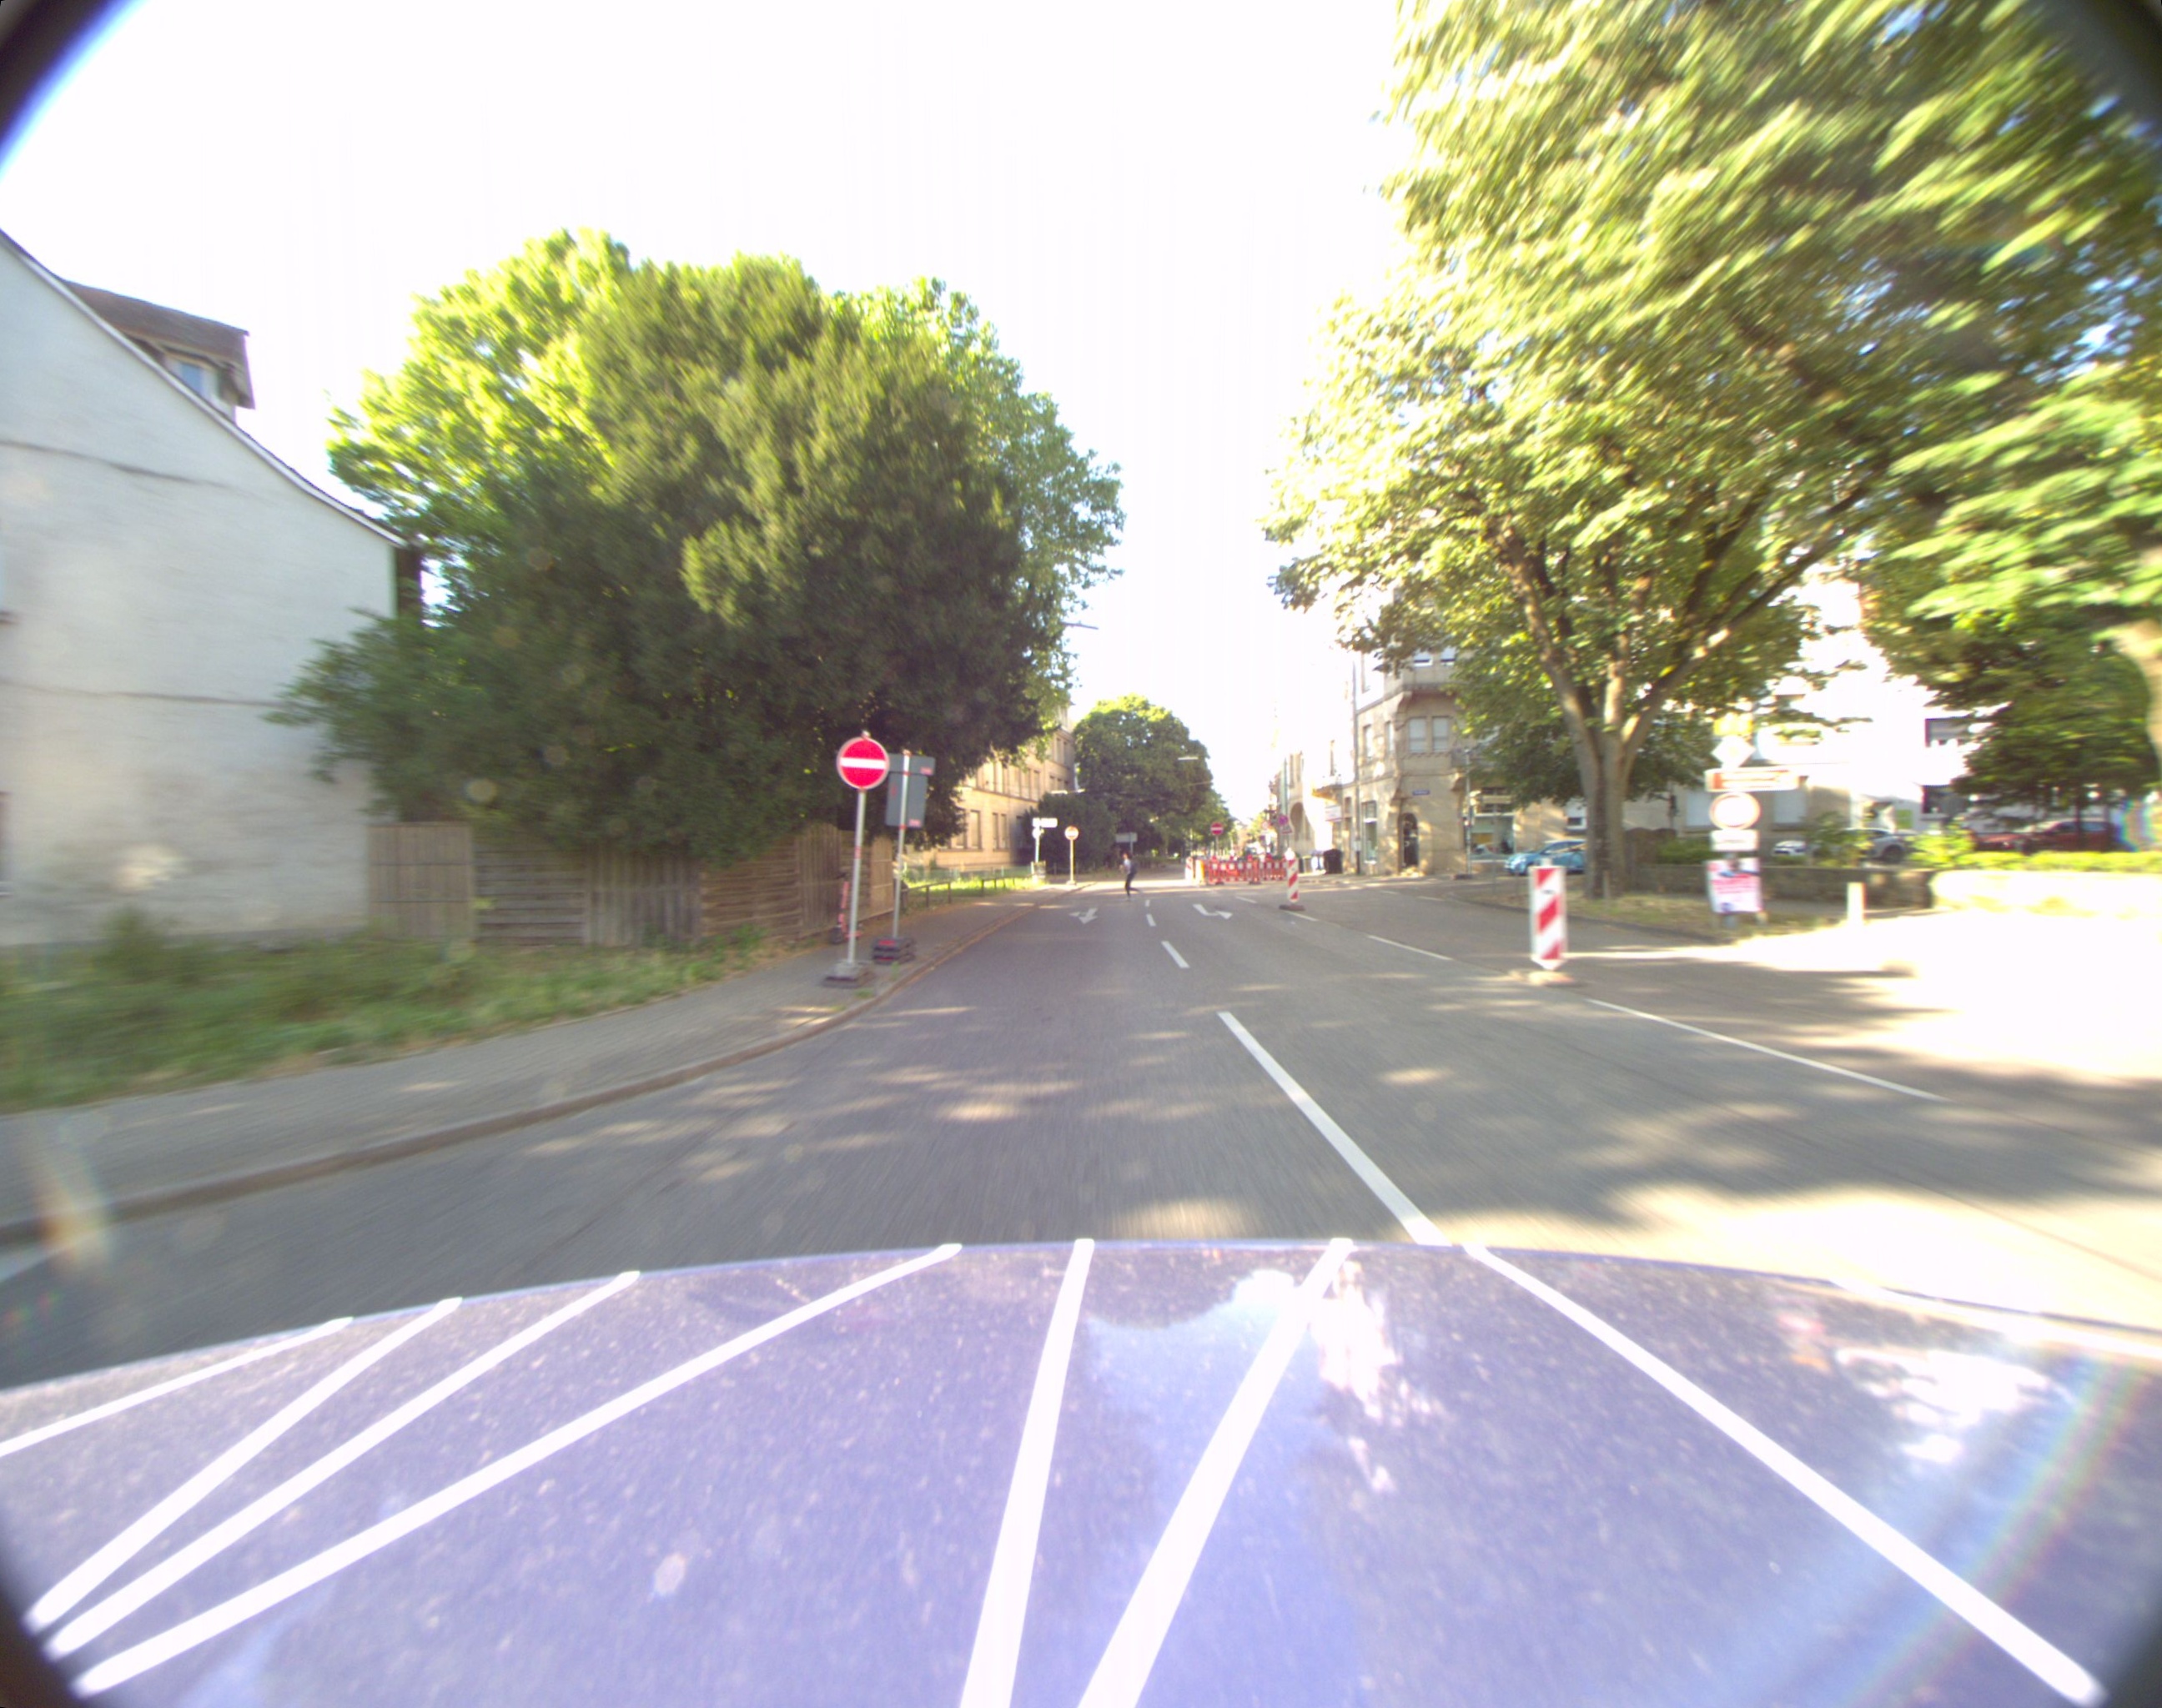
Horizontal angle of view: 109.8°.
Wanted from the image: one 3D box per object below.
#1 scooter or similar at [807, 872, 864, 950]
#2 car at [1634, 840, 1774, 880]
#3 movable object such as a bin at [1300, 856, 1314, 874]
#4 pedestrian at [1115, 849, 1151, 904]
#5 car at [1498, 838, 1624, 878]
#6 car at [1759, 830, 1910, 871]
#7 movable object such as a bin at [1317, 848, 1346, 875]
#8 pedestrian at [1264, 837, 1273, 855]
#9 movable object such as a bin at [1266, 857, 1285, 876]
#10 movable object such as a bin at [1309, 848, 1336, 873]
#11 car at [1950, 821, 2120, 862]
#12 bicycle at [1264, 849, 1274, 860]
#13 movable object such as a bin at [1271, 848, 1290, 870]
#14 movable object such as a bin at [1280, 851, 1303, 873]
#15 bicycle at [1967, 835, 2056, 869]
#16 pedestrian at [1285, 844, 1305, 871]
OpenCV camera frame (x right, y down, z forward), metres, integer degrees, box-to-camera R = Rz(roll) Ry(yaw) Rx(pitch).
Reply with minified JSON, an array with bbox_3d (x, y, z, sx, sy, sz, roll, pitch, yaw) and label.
[{"bbox_3d":[-4.106,0.926,12.775,0.439,1.195,1.259,1,1,5],"label":"scooter or similar"},{"bbox_3d":[25.303,0.245,31.002,3.996,1.477,2.001,-1,0,4],"label":"car"},{"bbox_3d":[13.947,0.664,46.989,0.637,1.035,0.764,-3,0,4],"label":"movable object such as a bin"},{"bbox_3d":[1.743,0.742,25.329,1.045,1.771,1.192,-2,1,10],"label":"pedestrian"},{"bbox_3d":[20.159,0.180,32.040,3.996,1.543,2.001,-1,0,4],"label":"car"},{"bbox_3d":[30.234,-0.133,30.600,3.996,1.477,2.001,-1,0,4],"label":"car"},{"bbox_3d":[14.062,0.405,42.690,1.085,1.423,1.345,-3,0,-1],"label":"movable object such as a bin"},{"bbox_3d":[16.040,-0.665,65.009,0.599,1.547,0.616,-3,0,9],"label":"pedestrian"},{"bbox_3d":[13.732,0.871,53.632,1.084,1.256,1.335,-3,0,5],"label":"movable object such as a bin"},{"bbox_3d":[14.026,0.376,44.148,1.085,1.423,1.407,-3,0,-1],"label":"movable object such as a bin"},{"bbox_3d":[37.428,-0.488,29.914,3.996,1.477,2.001,-1,0,4],"label":"car"},{"bbox_3d":[16.070,0.034,64.963,0.601,0.927,1.474,-3,0,9],"label":"bicycle"},{"bbox_3d":[13.692,0.346,52.074,1.083,1.423,1.409,-3,0,20],"label":"movable object such as a bin"},{"bbox_3d":[13.709,0.515,49.528,1.085,1.423,1.407,-3,0,4],"label":"movable object such as a bin"},{"bbox_3d":[29.348,-0.070,24.014,0.927,1.004,1.936,-3,0,22],"label":"bicycle"},{"bbox_3d":[12.871,0.212,45.751,0.823,1.594,0.917,-3,0,-4],"label":"pedestrian"}]
